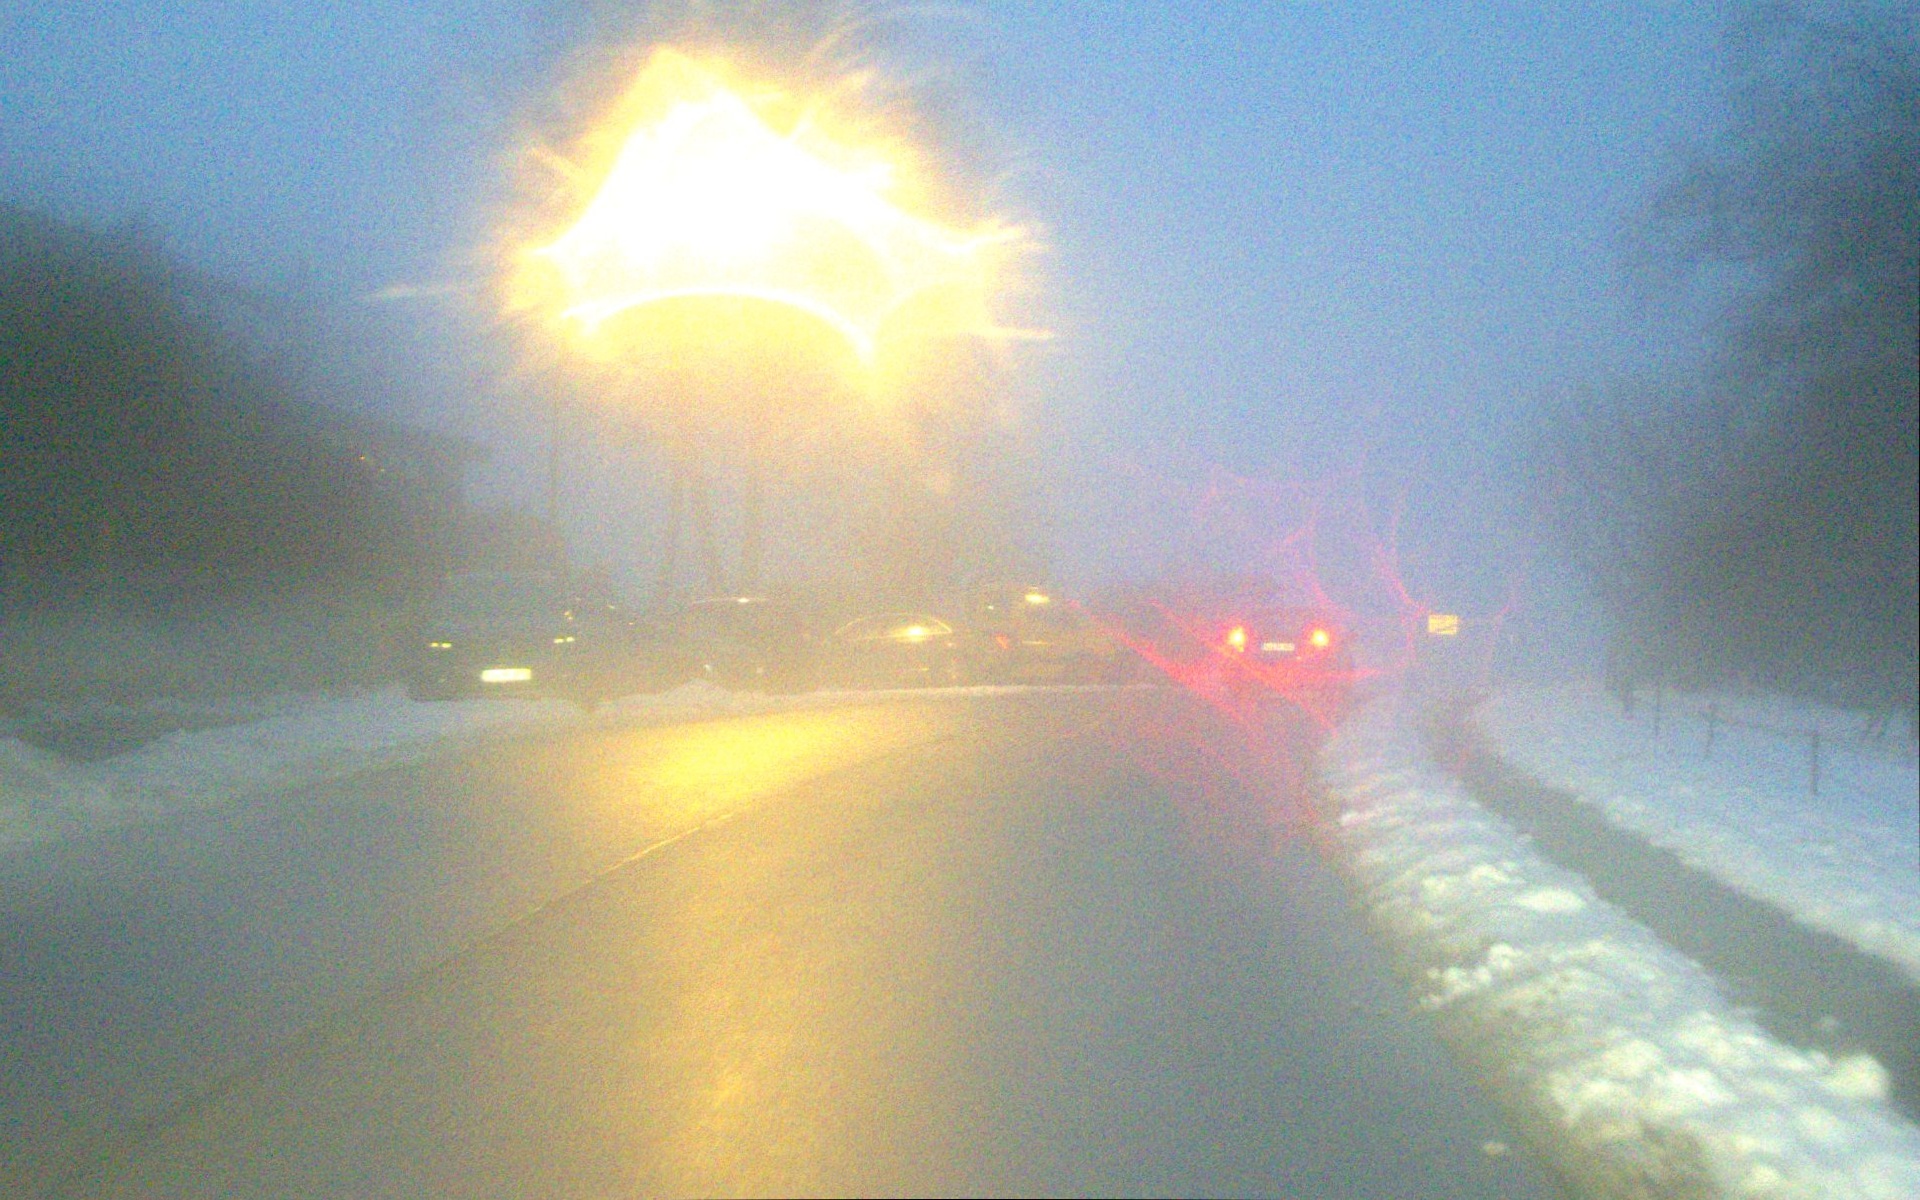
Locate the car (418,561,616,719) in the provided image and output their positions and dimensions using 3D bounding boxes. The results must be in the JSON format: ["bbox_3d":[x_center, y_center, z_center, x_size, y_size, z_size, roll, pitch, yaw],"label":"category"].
[{"bbox_3d":[-5.030,0.480,38.483,1.993,1.561,4.998,-3,-1,-9],"label":"car"}]

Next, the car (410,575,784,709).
[{"bbox_3d":[-4.619,0.545,44.245,4.527,1.561,2.110,-2,-1,1],"label":"car"}]

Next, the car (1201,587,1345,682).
[{"bbox_3d":[5.021,0.521,54.801,1.994,1.415,3.998,1,0,9],"label":"car"}]

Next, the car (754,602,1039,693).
[{"bbox_3d":[-1.142,0.880,63.087,4.889,1.480,2.122,-2,-1,9],"label":"car"}]
